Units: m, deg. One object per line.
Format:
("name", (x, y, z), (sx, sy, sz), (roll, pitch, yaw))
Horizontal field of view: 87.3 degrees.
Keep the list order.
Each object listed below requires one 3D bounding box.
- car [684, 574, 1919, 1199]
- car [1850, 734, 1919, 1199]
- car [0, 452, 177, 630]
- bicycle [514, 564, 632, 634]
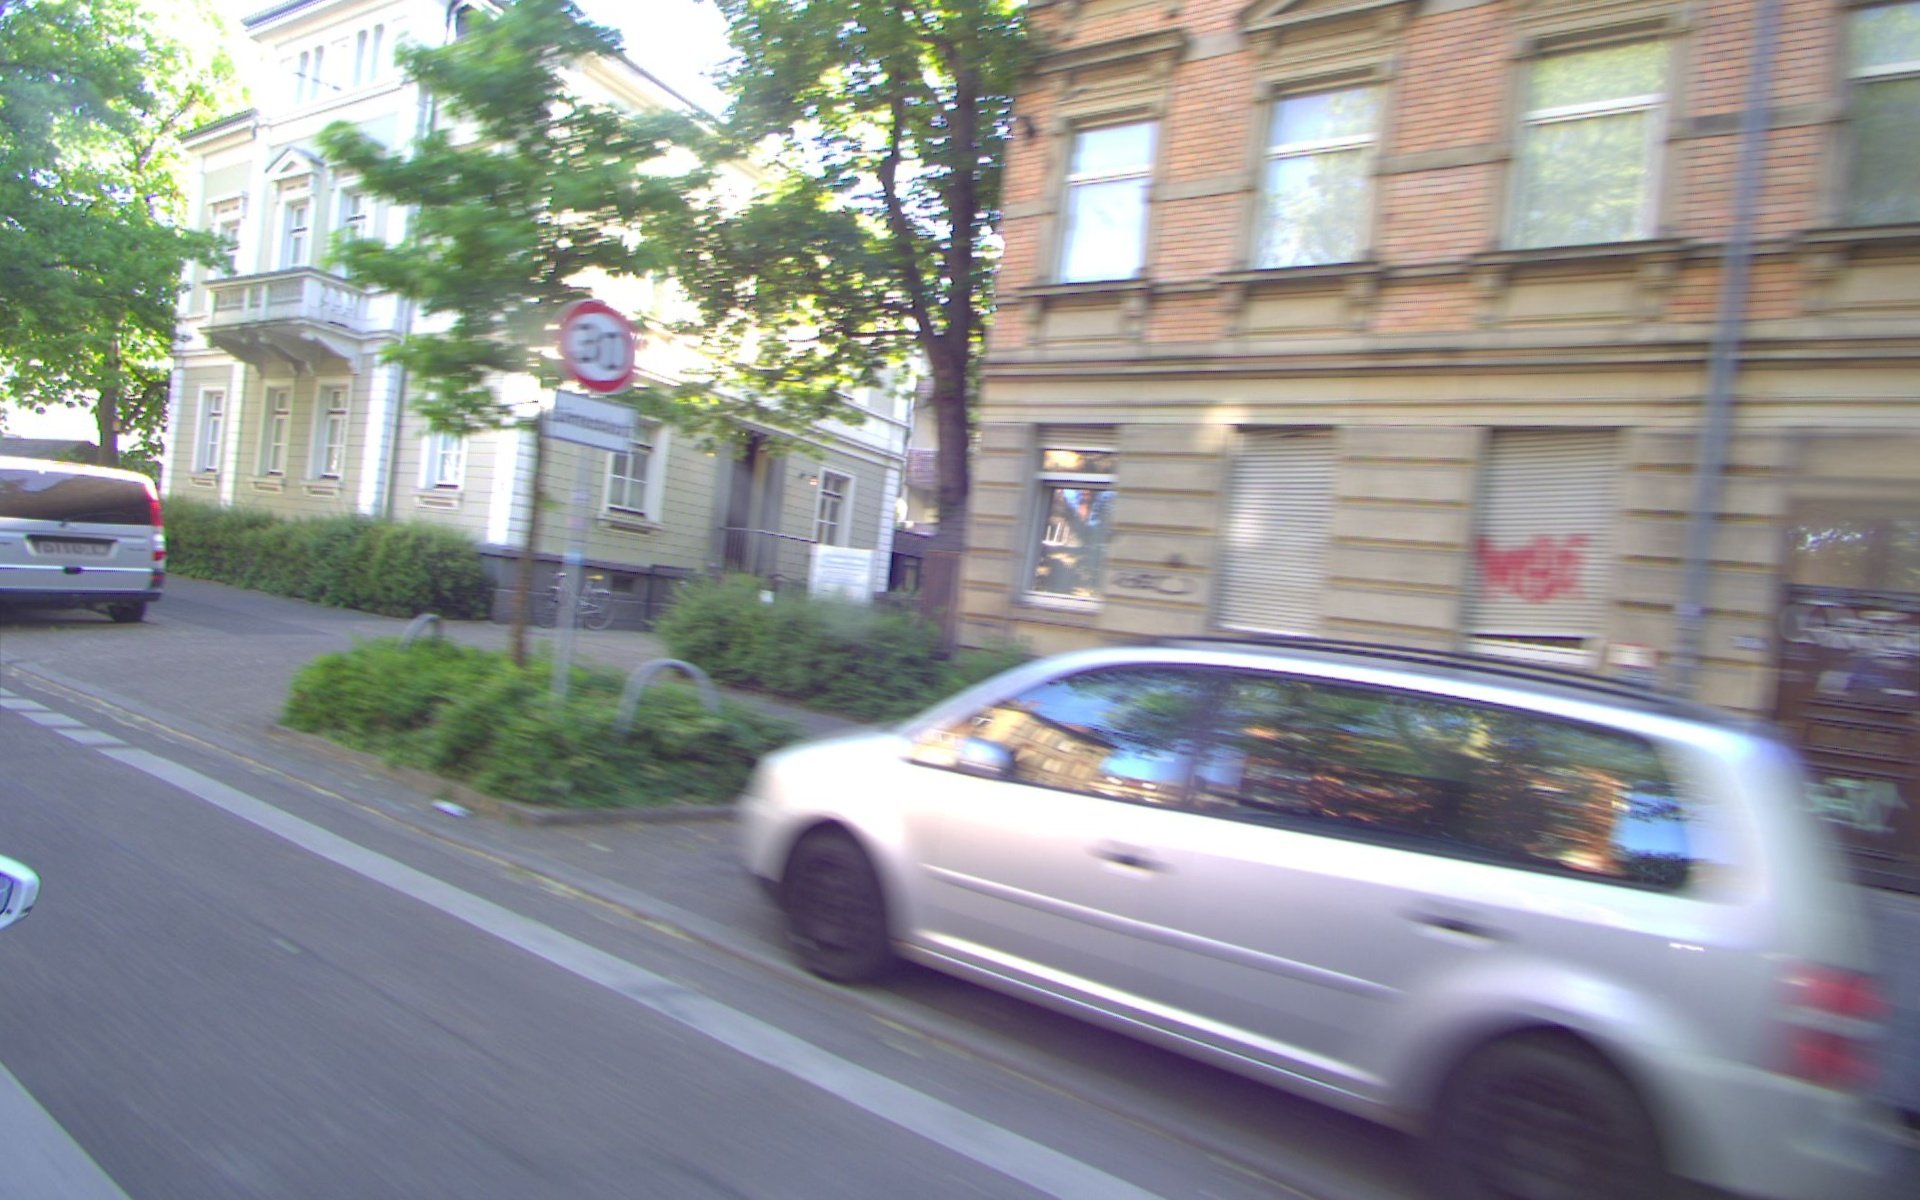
("car", (1.072, 0.902, 4.222), (4.172, 1.589, 1.884), (7, 2, 32))
("car", (5.177, 1.472, 2.132), (4.518, 1.486, 1.884), (7, 2, 32))
("car", (-11.889, -0.835, 12.416), (4.885, 1.876, 1.884), (7, 2, 32))
("bicycle", (-6.761, 0.001, 17.665), (0.552, 1.048, 1.915), (7, 0, 31))
